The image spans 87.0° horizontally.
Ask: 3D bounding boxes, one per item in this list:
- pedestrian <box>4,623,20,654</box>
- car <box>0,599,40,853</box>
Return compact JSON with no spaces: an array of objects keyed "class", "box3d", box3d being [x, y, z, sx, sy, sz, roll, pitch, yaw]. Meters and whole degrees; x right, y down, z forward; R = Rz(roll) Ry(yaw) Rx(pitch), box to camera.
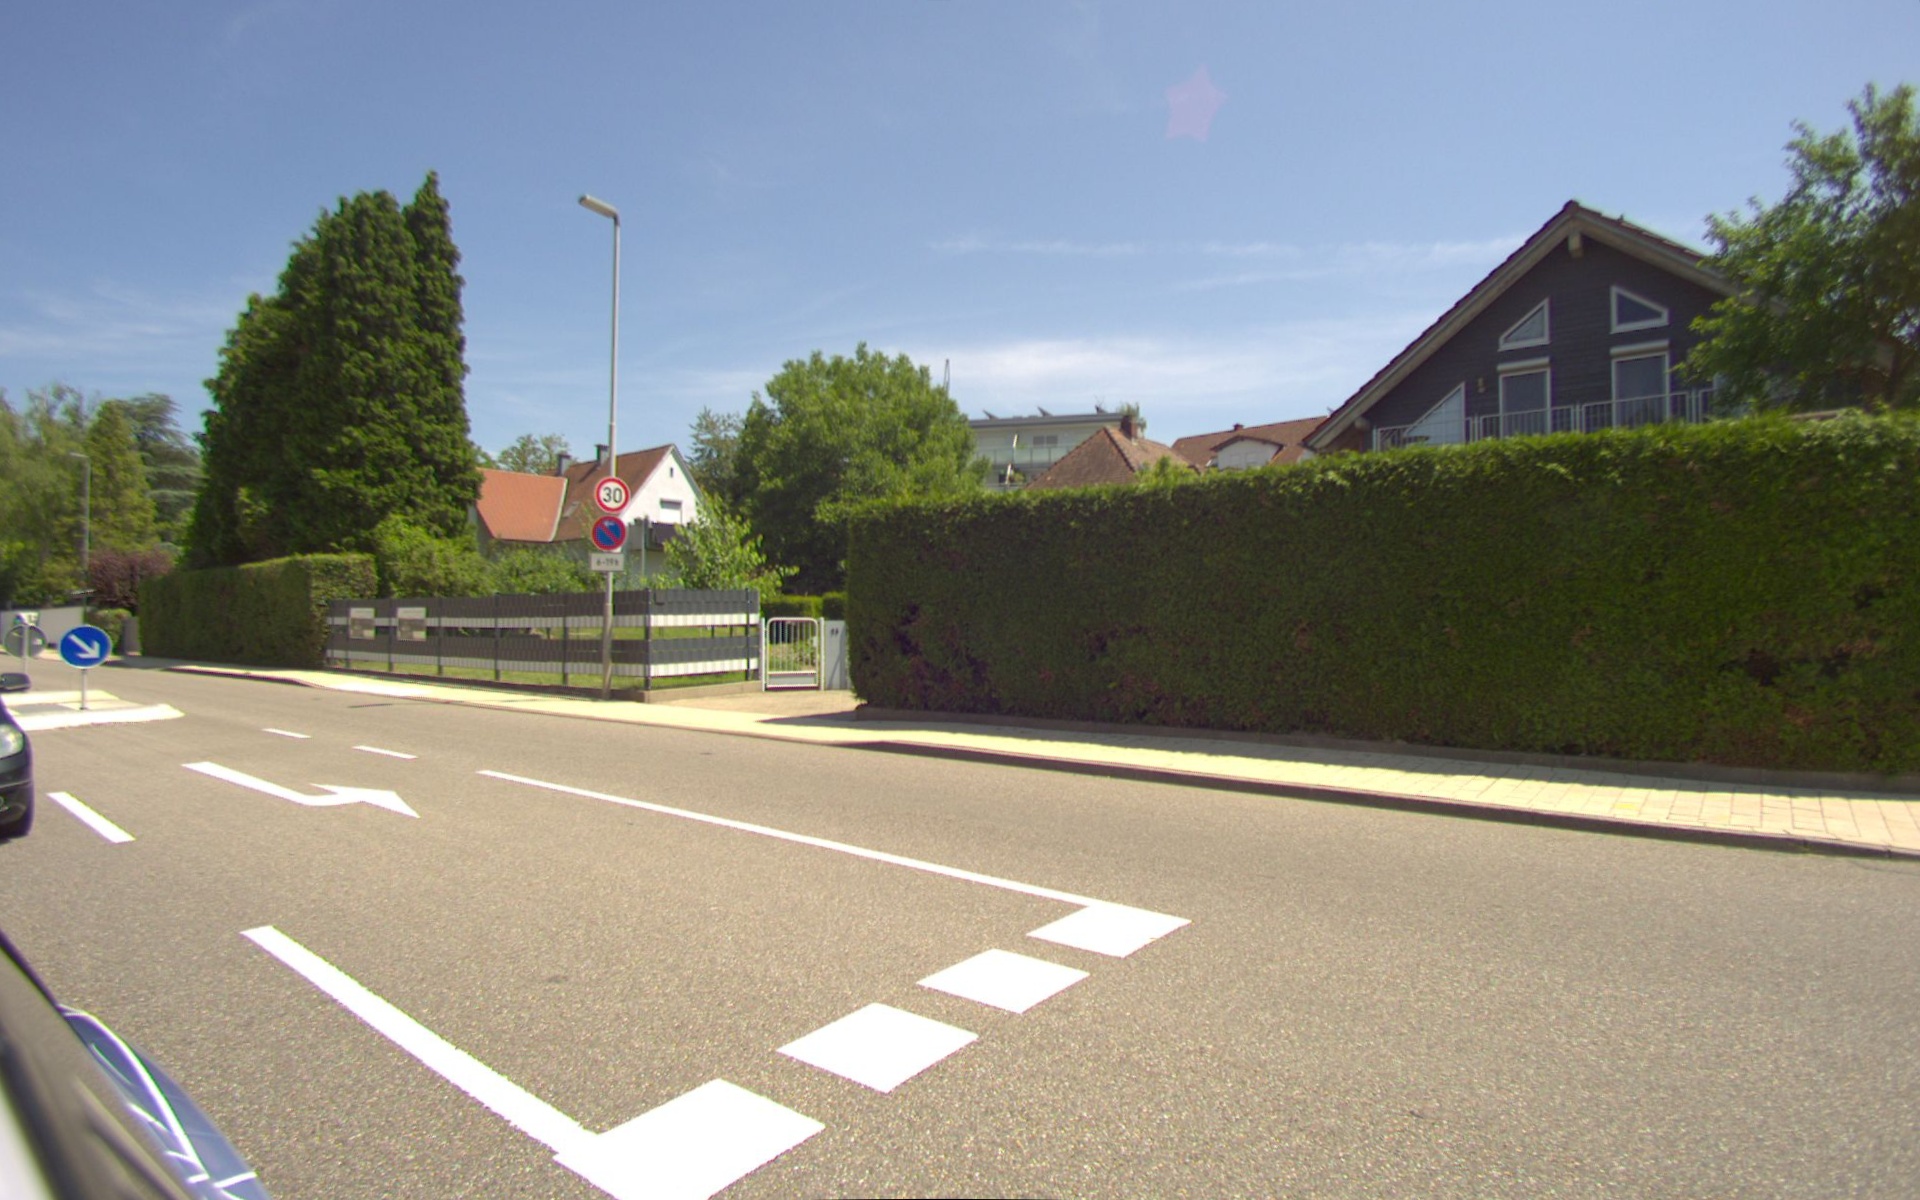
[{"class":"pedestrian","box3d":[-47.027,1.912,50.205,0.482,1.497,0.548,-1,0,39]},{"class":"car","box3d":[-8.112,0.827,7.153,4.153,1.601,1.844,-2,-2,40]}]
